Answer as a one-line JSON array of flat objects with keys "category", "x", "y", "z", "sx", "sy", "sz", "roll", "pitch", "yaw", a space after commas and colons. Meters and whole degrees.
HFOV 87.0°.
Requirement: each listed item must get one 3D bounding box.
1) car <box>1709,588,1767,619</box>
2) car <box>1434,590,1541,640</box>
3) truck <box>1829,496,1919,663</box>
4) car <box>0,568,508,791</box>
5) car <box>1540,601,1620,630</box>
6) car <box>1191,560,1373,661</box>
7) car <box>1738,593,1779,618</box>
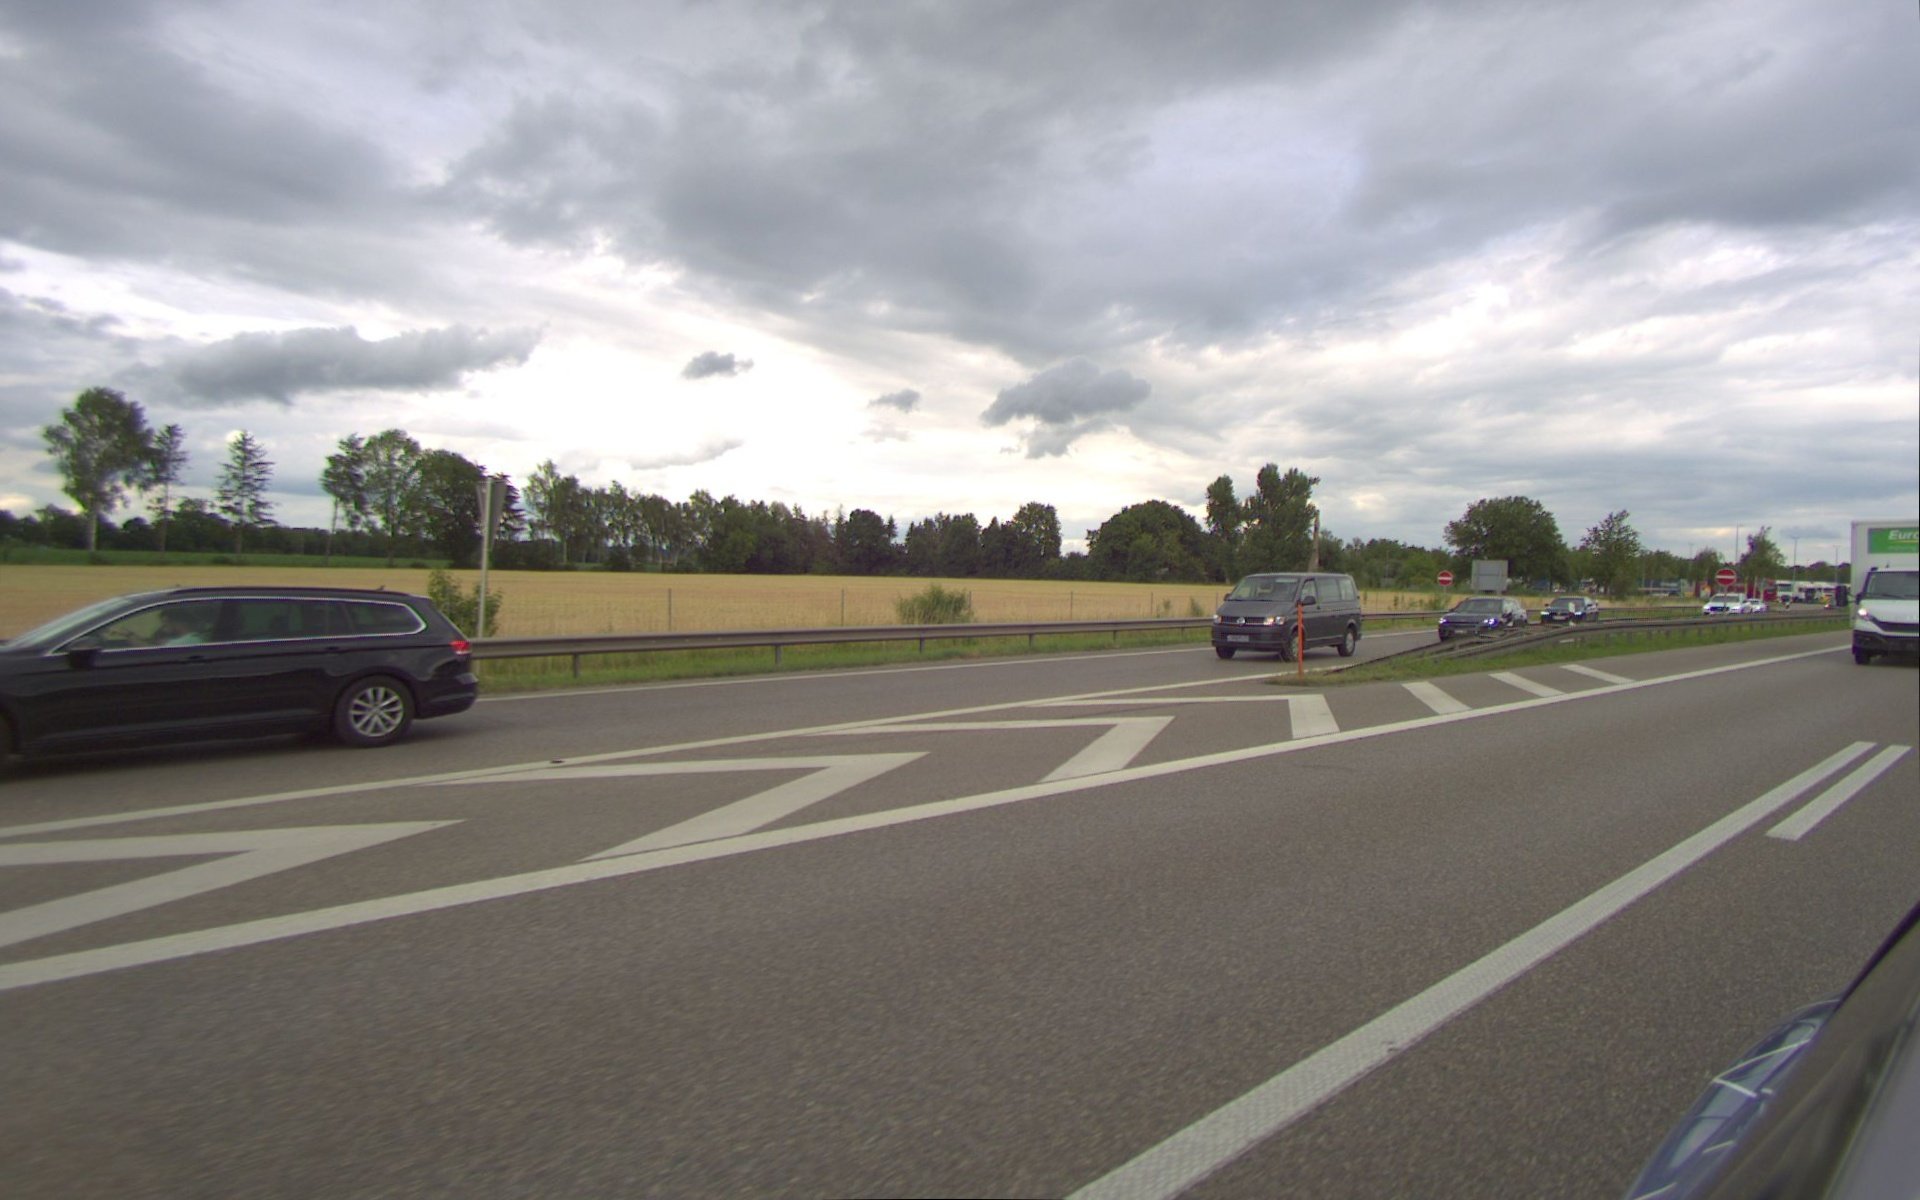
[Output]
[{"category": "car", "x": 47.906, "y": 0.199, "z": 62.273, "sx": 4.977, "sy": 1.778, "sz": 1.831, "roll": 0, "pitch": 2, "yaw": -41}, {"category": "car", "x": 17.089, "y": 0.444, "z": 32.687, "sx": 4.518, "sy": 1.503, "sz": 1.751, "roll": 0, "pitch": 0, "yaw": -44}, {"category": "truck", "x": 23.677, "y": -0.445, "z": 24.502, "sx": 8.904, "sy": 3.549, "sz": 2.775, "roll": 0, "pitch": 0, "yaw": -41}, {"category": "car", "x": -6.755, "y": 0.537, "z": 8.756, "sx": 1.917, "sy": 1.569, "sz": 4.848, "roll": 3, "pitch": 2, "yaw": 42}, {"category": "car", "x": 31.016, "y": 0.729, "z": 50.581, "sx": 5.615, "sy": 1.333, "sz": 1.831, "roll": 0, "pitch": 0, "yaw": -41}, {"category": "car", "x": 7.584, "y": 0.204, "z": 23.521, "sx": 2.143, "sy": 2.089, "sz": 4.880, "roll": 1, "pitch": 0, "yaw": 43}, {"category": "car", "x": 67.537, "y": 0.446, "z": 85.593, "sx": 3.930, "sy": 2.039, "sz": 1.980, "roll": 0, "pitch": 0, "yaw": -41}]
